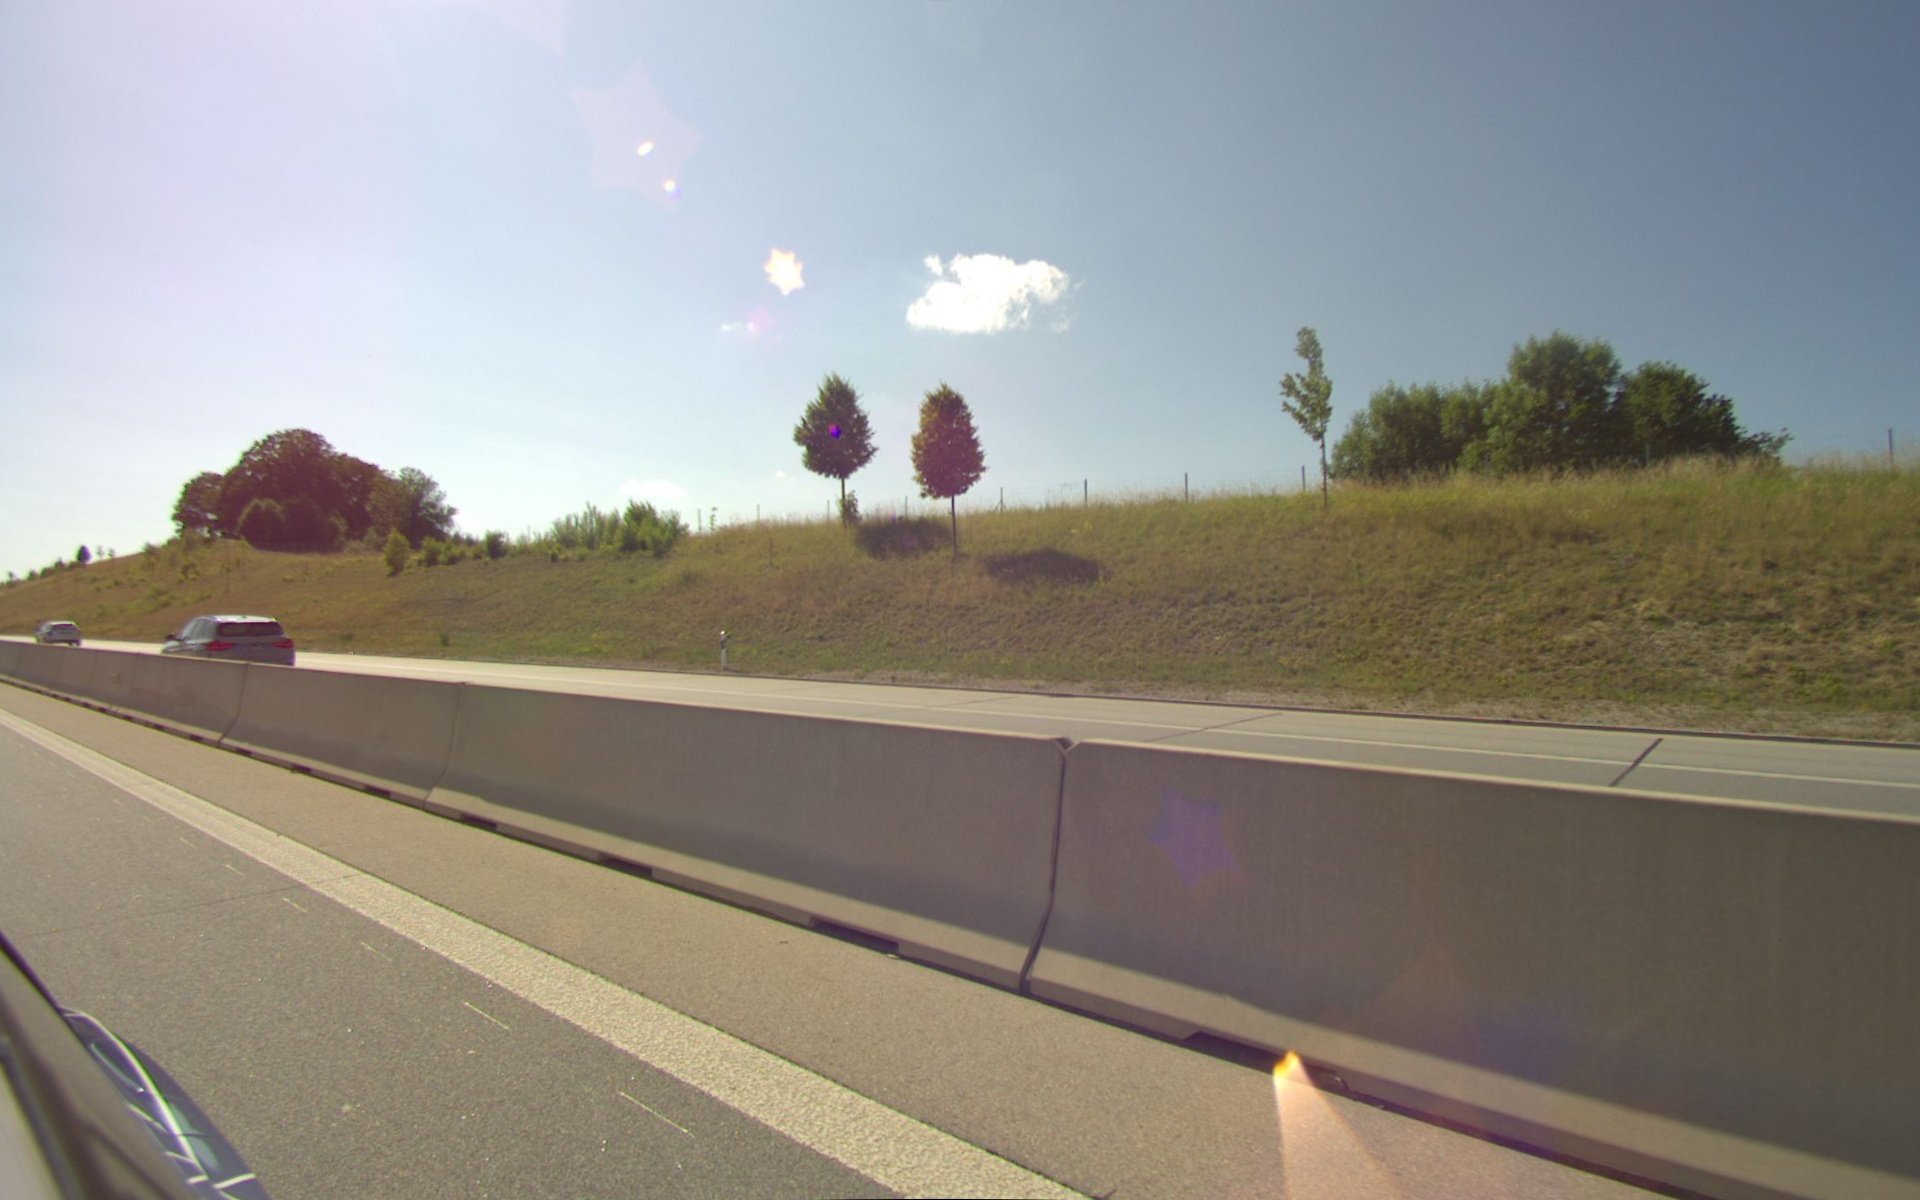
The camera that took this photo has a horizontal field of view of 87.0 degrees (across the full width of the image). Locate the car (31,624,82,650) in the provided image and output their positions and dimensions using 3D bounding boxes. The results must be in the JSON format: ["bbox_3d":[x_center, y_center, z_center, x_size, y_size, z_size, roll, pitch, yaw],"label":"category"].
[{"bbox_3d":[-55.476,2.249,62.098,4.525,1.482,1.784,-1,-2,41],"label":"car"}]

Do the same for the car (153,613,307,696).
[{"bbox_3d":[-17.354,1.219,23.968,4.883,1.745,1.911,-1,0,41],"label":"car"}]
